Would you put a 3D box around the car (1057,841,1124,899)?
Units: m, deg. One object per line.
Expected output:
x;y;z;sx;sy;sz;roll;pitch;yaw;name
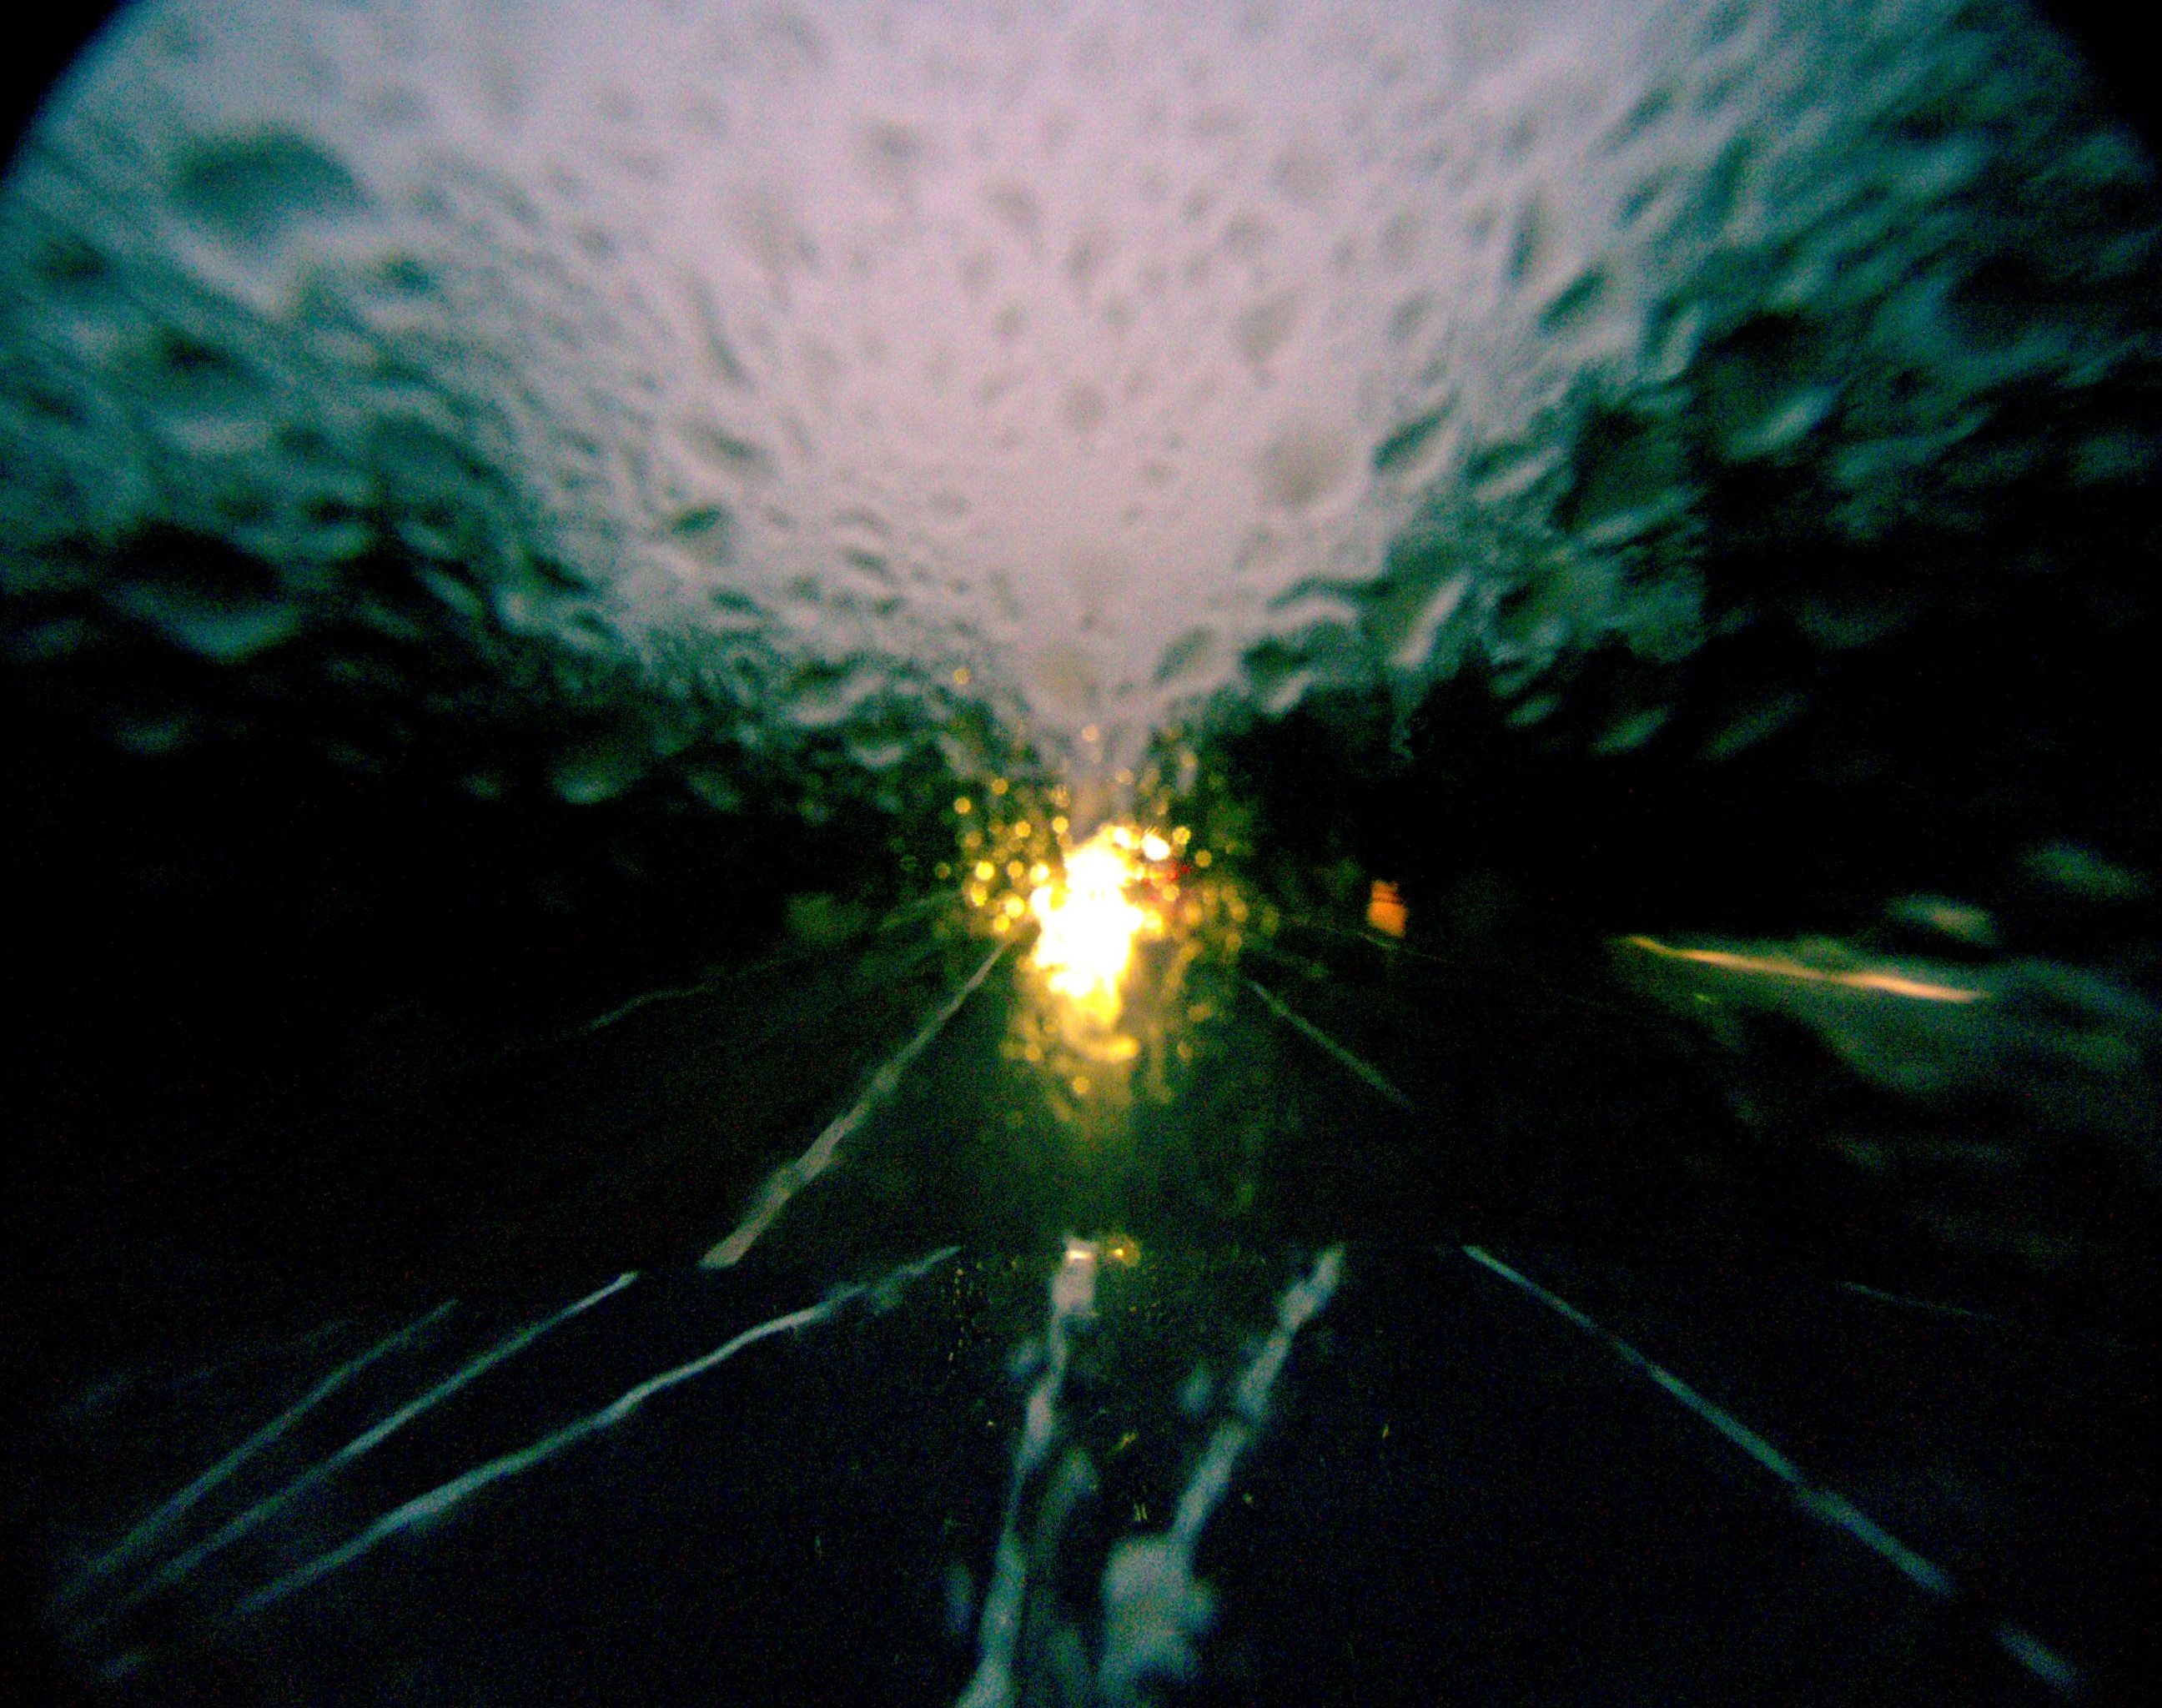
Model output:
0.473;0.603;32.952;2.542;2.213;6.169;-2;1;2;car

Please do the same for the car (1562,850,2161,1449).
3.915;0.815;2.229;1.922;1.599;5.015;-1;1;1;car

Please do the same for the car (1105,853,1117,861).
5.423;0.523;136.636;1.979;1.559;4.928;0;0;3;car

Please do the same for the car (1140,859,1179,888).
4.041;0.988;39.687;1.695;1.411;4.000;-1;0;1;car

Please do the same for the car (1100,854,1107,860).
5.866;0.733;200.671;1.826;1.639;4.750;1;-1;1;car
